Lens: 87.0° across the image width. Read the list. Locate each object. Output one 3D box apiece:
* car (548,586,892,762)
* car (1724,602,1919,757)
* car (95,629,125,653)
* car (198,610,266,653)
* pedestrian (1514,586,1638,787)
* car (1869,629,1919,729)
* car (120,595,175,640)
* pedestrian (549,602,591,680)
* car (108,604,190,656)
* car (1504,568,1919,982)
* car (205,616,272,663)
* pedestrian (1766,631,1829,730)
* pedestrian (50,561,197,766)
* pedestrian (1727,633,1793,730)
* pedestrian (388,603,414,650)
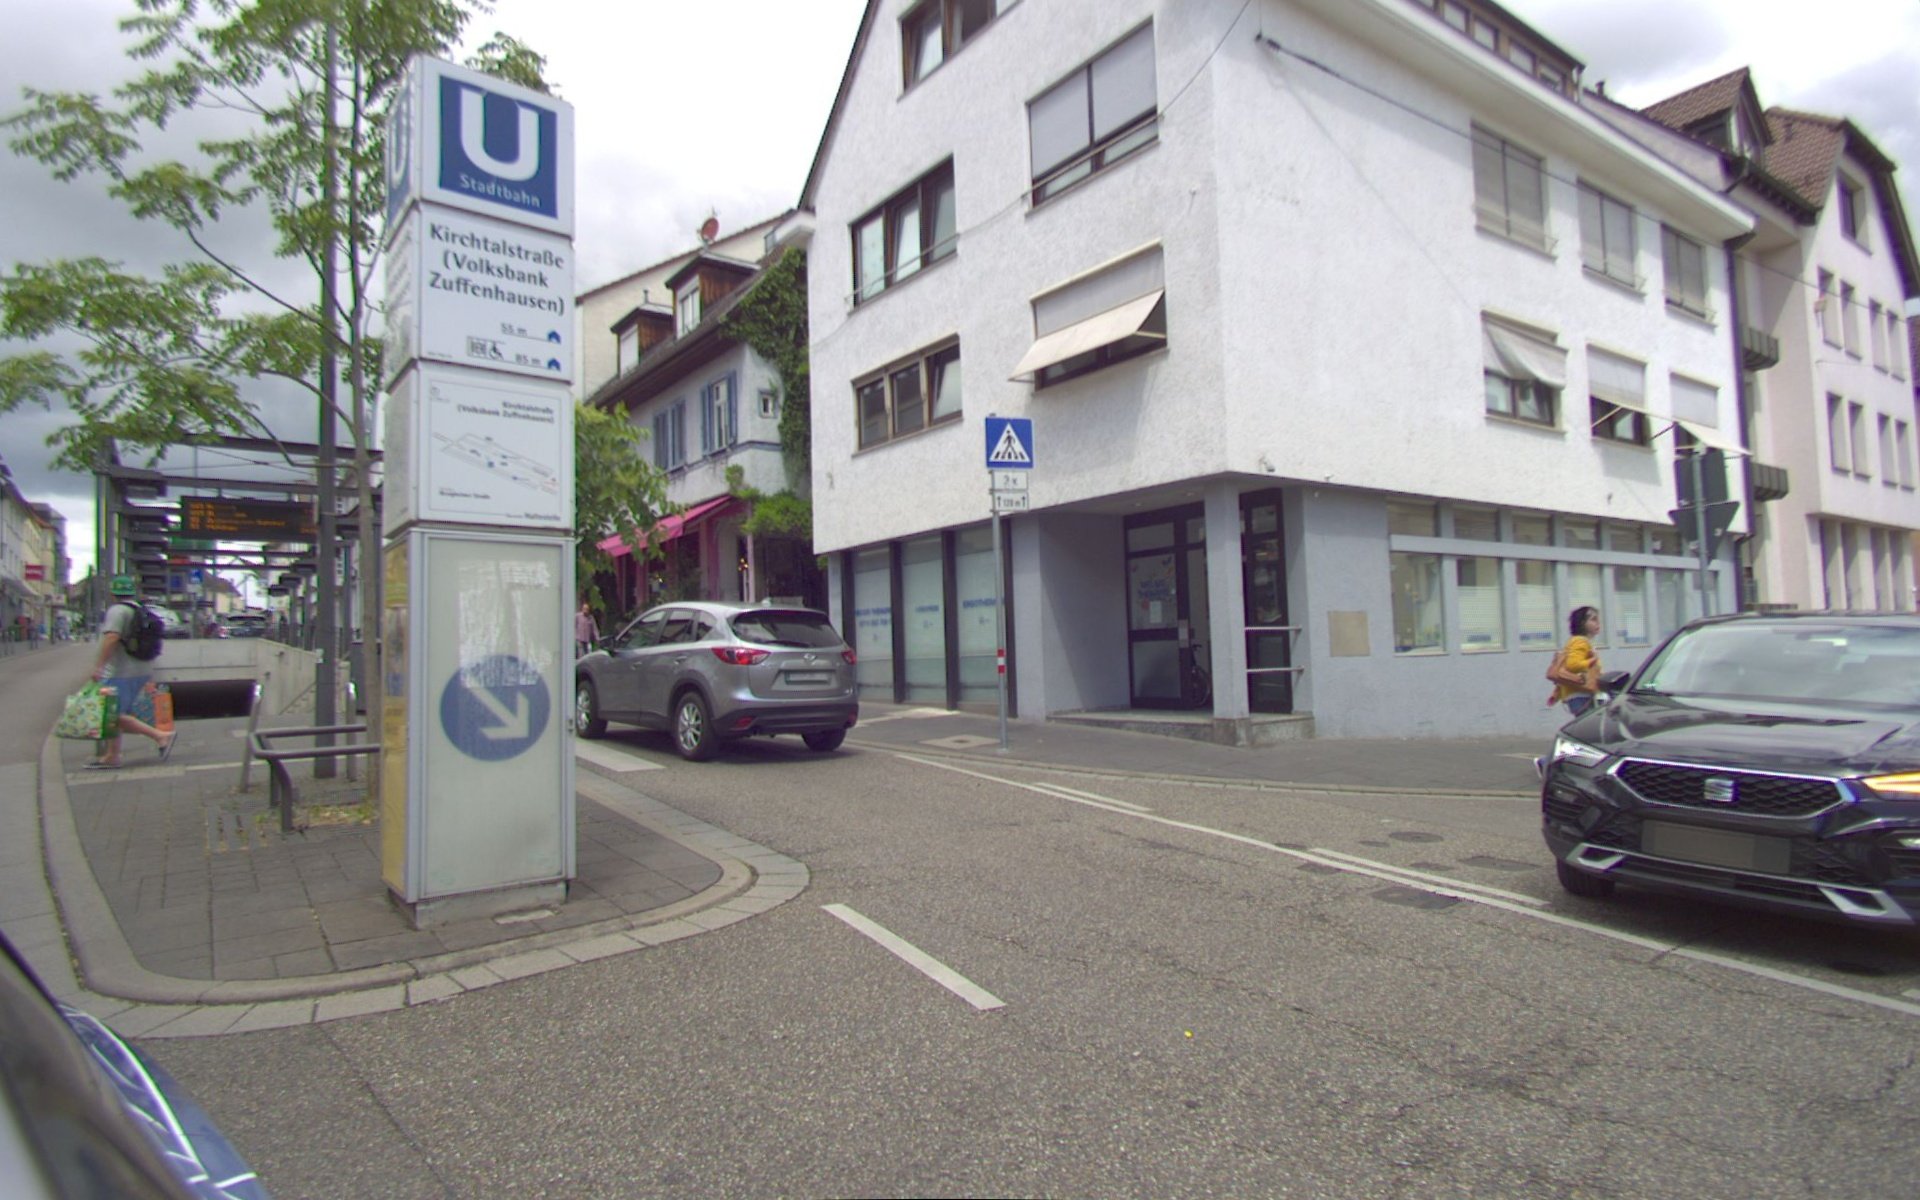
[{"bbox_3d":[-2.923,0.752,11.706,1.940,1.633,4.359,2,-3,-43],"label":"car"},{"bbox_3d":[12.714,1.064,14.043,4.757,1.833,1.873,3,-3,-33],"label":"car"},{"bbox_3d":[-75.512,3.638,89.929,1.968,2.029,4.007,1,-1,-39],"label":"car"},{"bbox_3d":[-29.671,1.249,41.189,1.968,1.601,4.503,-1,0,-39],"label":"car"},{"bbox_3d":[5.696,0.768,9.372,0.629,1.752,0.837,3,-3,-42],"label":"pedestrian"},{"bbox_3d":[17.548,1.374,17.272,4.025,1.633,2.005,3,-5,-33],"label":"car"},{"bbox_3d":[-31.067,0.691,38.705,1.553,1.622,3.539,2,-2,-39],"label":"car"},{"bbox_3d":[-8.903,0.922,23.099,0.685,1.753,0.826,1,-2,-37],"label":"pedestrian"},{"bbox_3d":[-26.943,0.957,33.564,1.969,1.578,4.438,-1,0,-41],"label":"car"},{"bbox_3d":[5.037,0.709,5.631,4.301,1.581,1.919,1,-2,-37],"label":"car"},{"bbox_3d":[-25.409,1.354,35.591,1.677,1.559,3.906,1,-2,-39],"label":"car"},{"bbox_3d":[15.352,1.450,18.560,0.821,1.752,0.640,1,-2,-32],"label":"pedestrian"},{"bbox_3d":[-7.871,0.573,9.581,0.904,1.801,0.991,1,-2,-31],"label":"pedestrian"},{"bbox_3d":[13.279,1.327,16.802,0.696,1.555,0.640,1,-2,-32],"label":"pedestrian"},{"bbox_3d":[-20.948,0.991,37.918,0.737,1.727,0.665,1,-2,-38],"label":"pedestrian"}]
